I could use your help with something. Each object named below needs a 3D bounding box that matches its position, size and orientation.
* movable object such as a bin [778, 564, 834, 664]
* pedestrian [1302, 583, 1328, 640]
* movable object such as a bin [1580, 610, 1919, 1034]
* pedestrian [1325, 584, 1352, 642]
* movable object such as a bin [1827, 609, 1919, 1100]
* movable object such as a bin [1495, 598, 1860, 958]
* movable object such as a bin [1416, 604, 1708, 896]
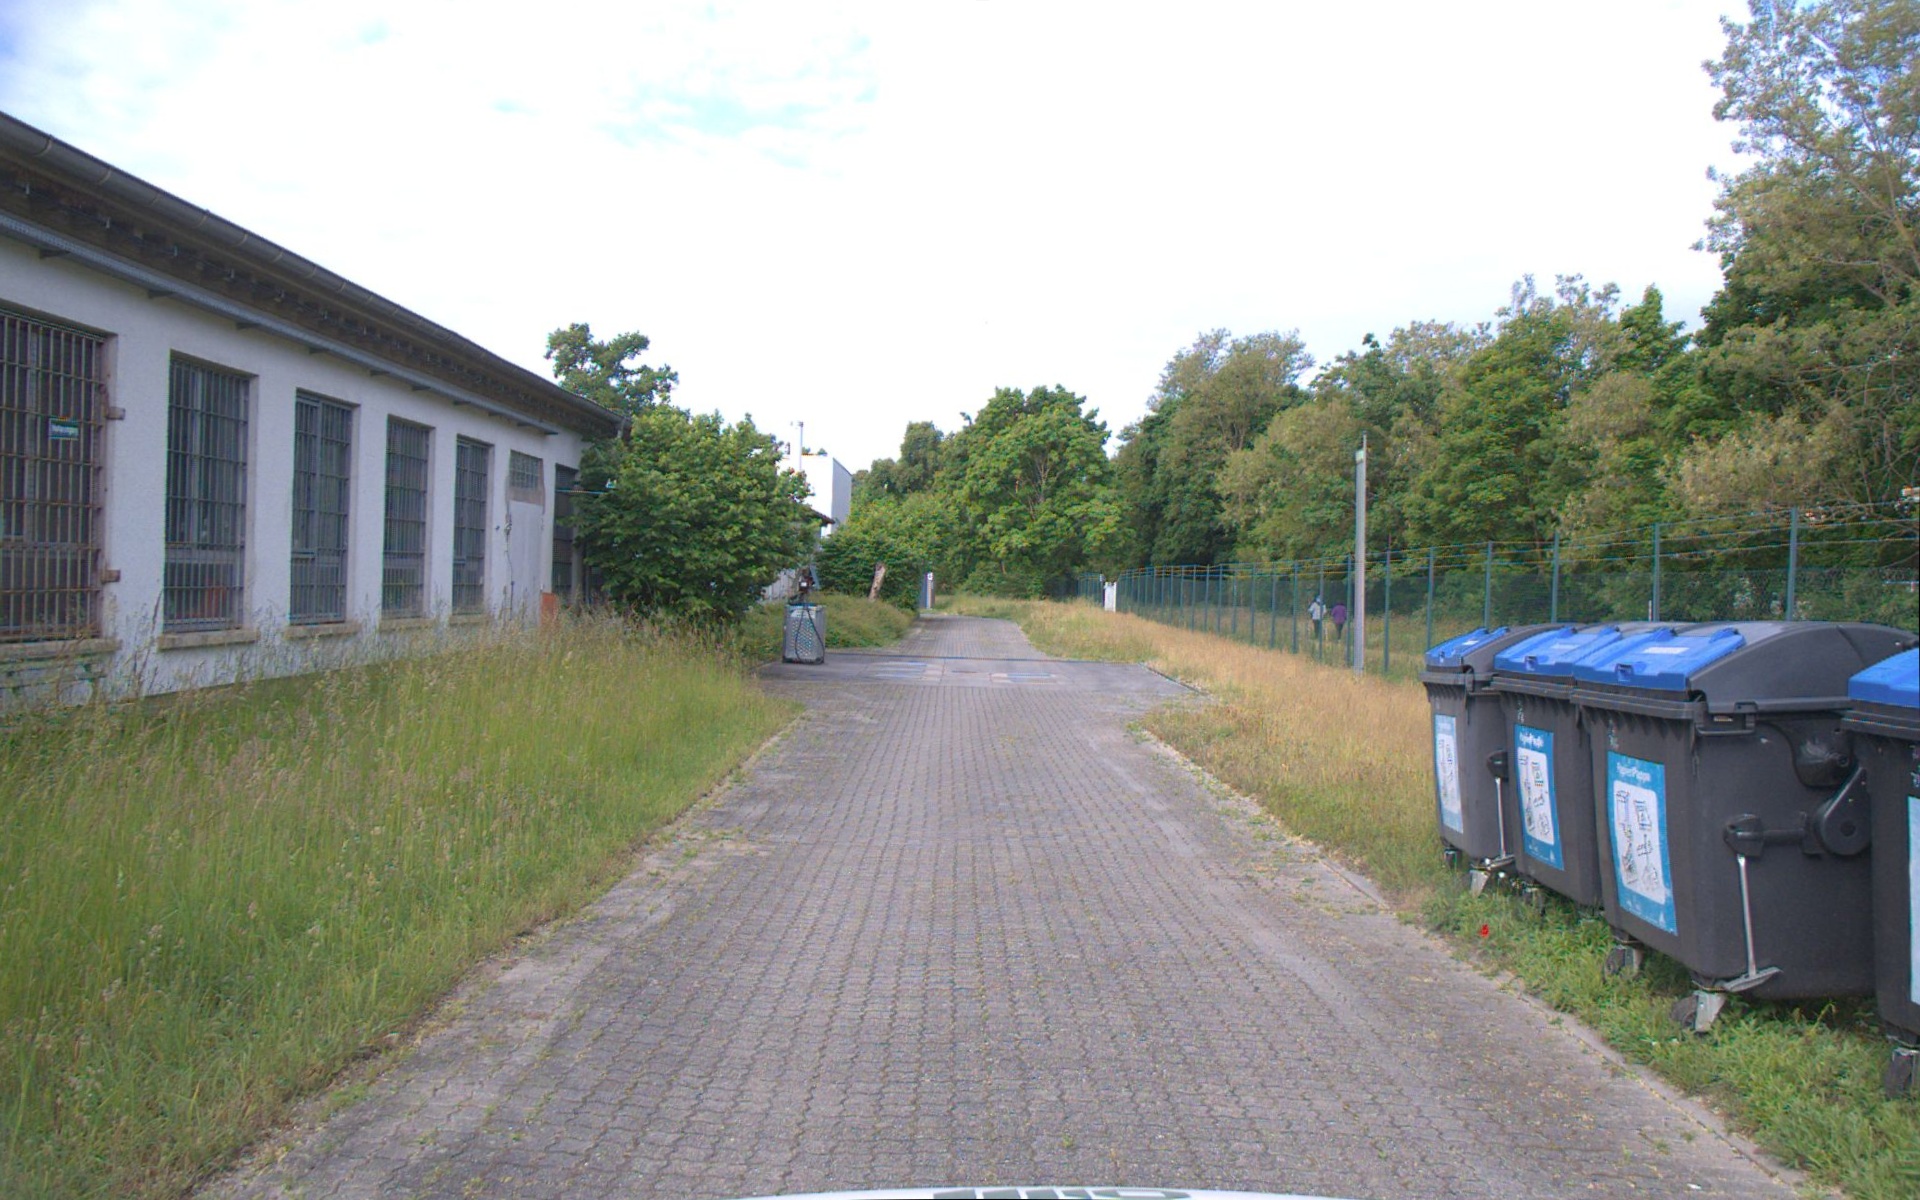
[{"bbox_3d":[-3.156,0.280,33.925,0.915,2.017,0.854,1,0,9],"label":"movable object such as a bin"},{"bbox_3d":[12.817,0.409,59.685,0.744,2.049,0.664,1,0,-1],"label":"pedestrian"},{"bbox_3d":[3.023,0.728,6.040,1.099,1.344,1.326,1,0,6],"label":"movable object such as a bin"},{"bbox_3d":[13.608,0.453,59.479,0.744,2.049,0.664,1,0,-1],"label":"pedestrian"},{"bbox_3d":[3.287,0.742,4.536,1.099,1.398,1.494,2,0,6],"label":"movable object such as a bin"},{"bbox_3d":[3.107,0.718,7.342,1.099,1.403,1.326,2,0,6],"label":"movable object such as a bin"},{"bbox_3d":[3.126,0.732,8.769,1.099,1.374,1.427,2,0,6],"label":"movable object such as a bin"}]
